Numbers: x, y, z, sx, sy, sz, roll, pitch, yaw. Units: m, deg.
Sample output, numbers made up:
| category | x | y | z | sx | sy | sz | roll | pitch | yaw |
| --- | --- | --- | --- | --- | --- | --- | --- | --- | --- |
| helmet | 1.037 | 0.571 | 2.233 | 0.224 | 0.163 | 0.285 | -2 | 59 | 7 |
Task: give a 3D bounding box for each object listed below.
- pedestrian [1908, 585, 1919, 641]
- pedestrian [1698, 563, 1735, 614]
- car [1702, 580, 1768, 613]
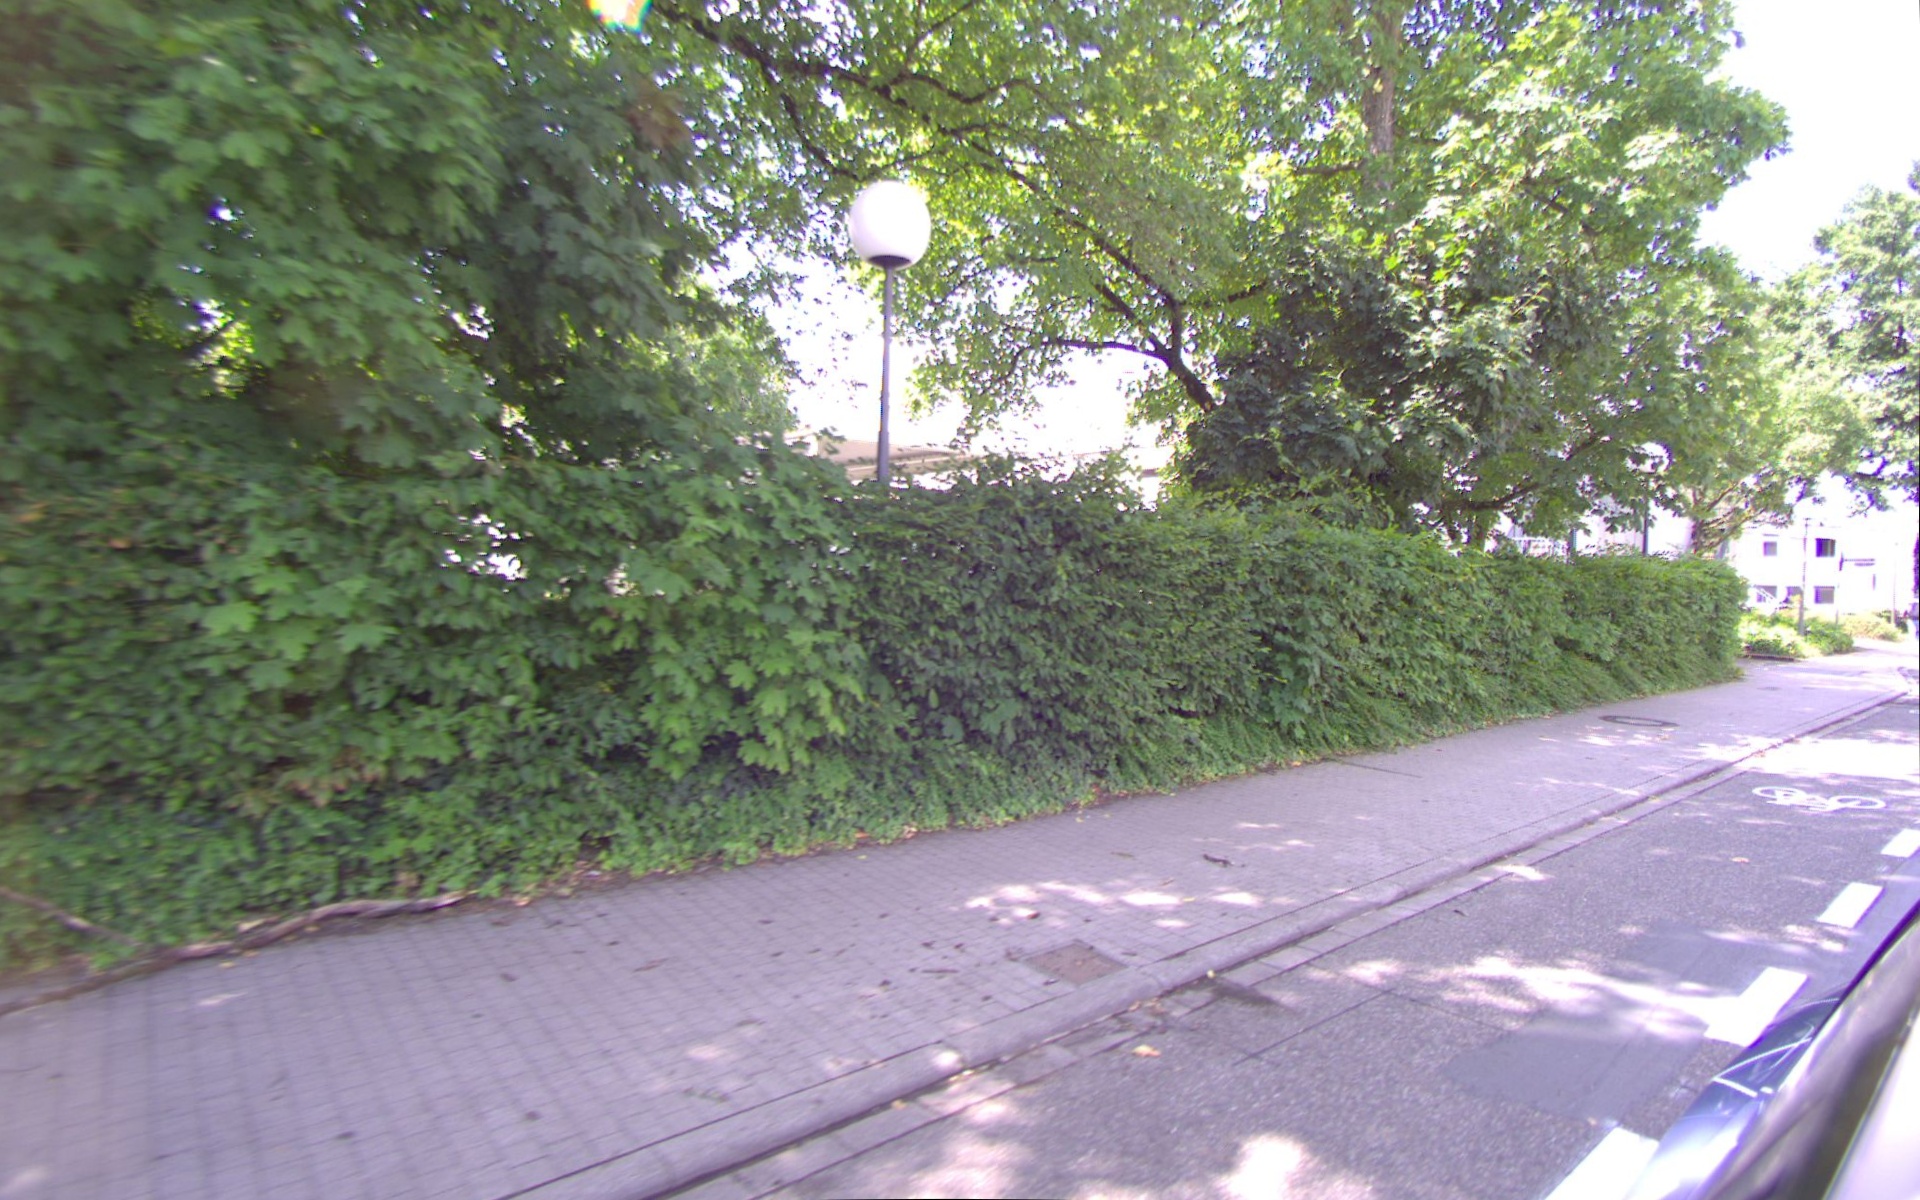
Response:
| category | x | y | z | sx | sy | sz | roll | pitch | yaw |
| --- | --- | --- | --- | --- | --- | --- | --- | --- | --- |
| pedestrian | 29.688 | 0.410 | 31.085 | 1.235 | 1.695 | 0.740 | 1 | 1 | -43 |
| pedestrian | 31.054 | -0.467 | 41.553 | 0.932 | 2.039 | 0.930 | 1 | 1 | -37 |
| car | 37.380 | -0.160 | 48.783 | 4.108 | 1.495 | 1.670 | 0 | 1 | -40 |
